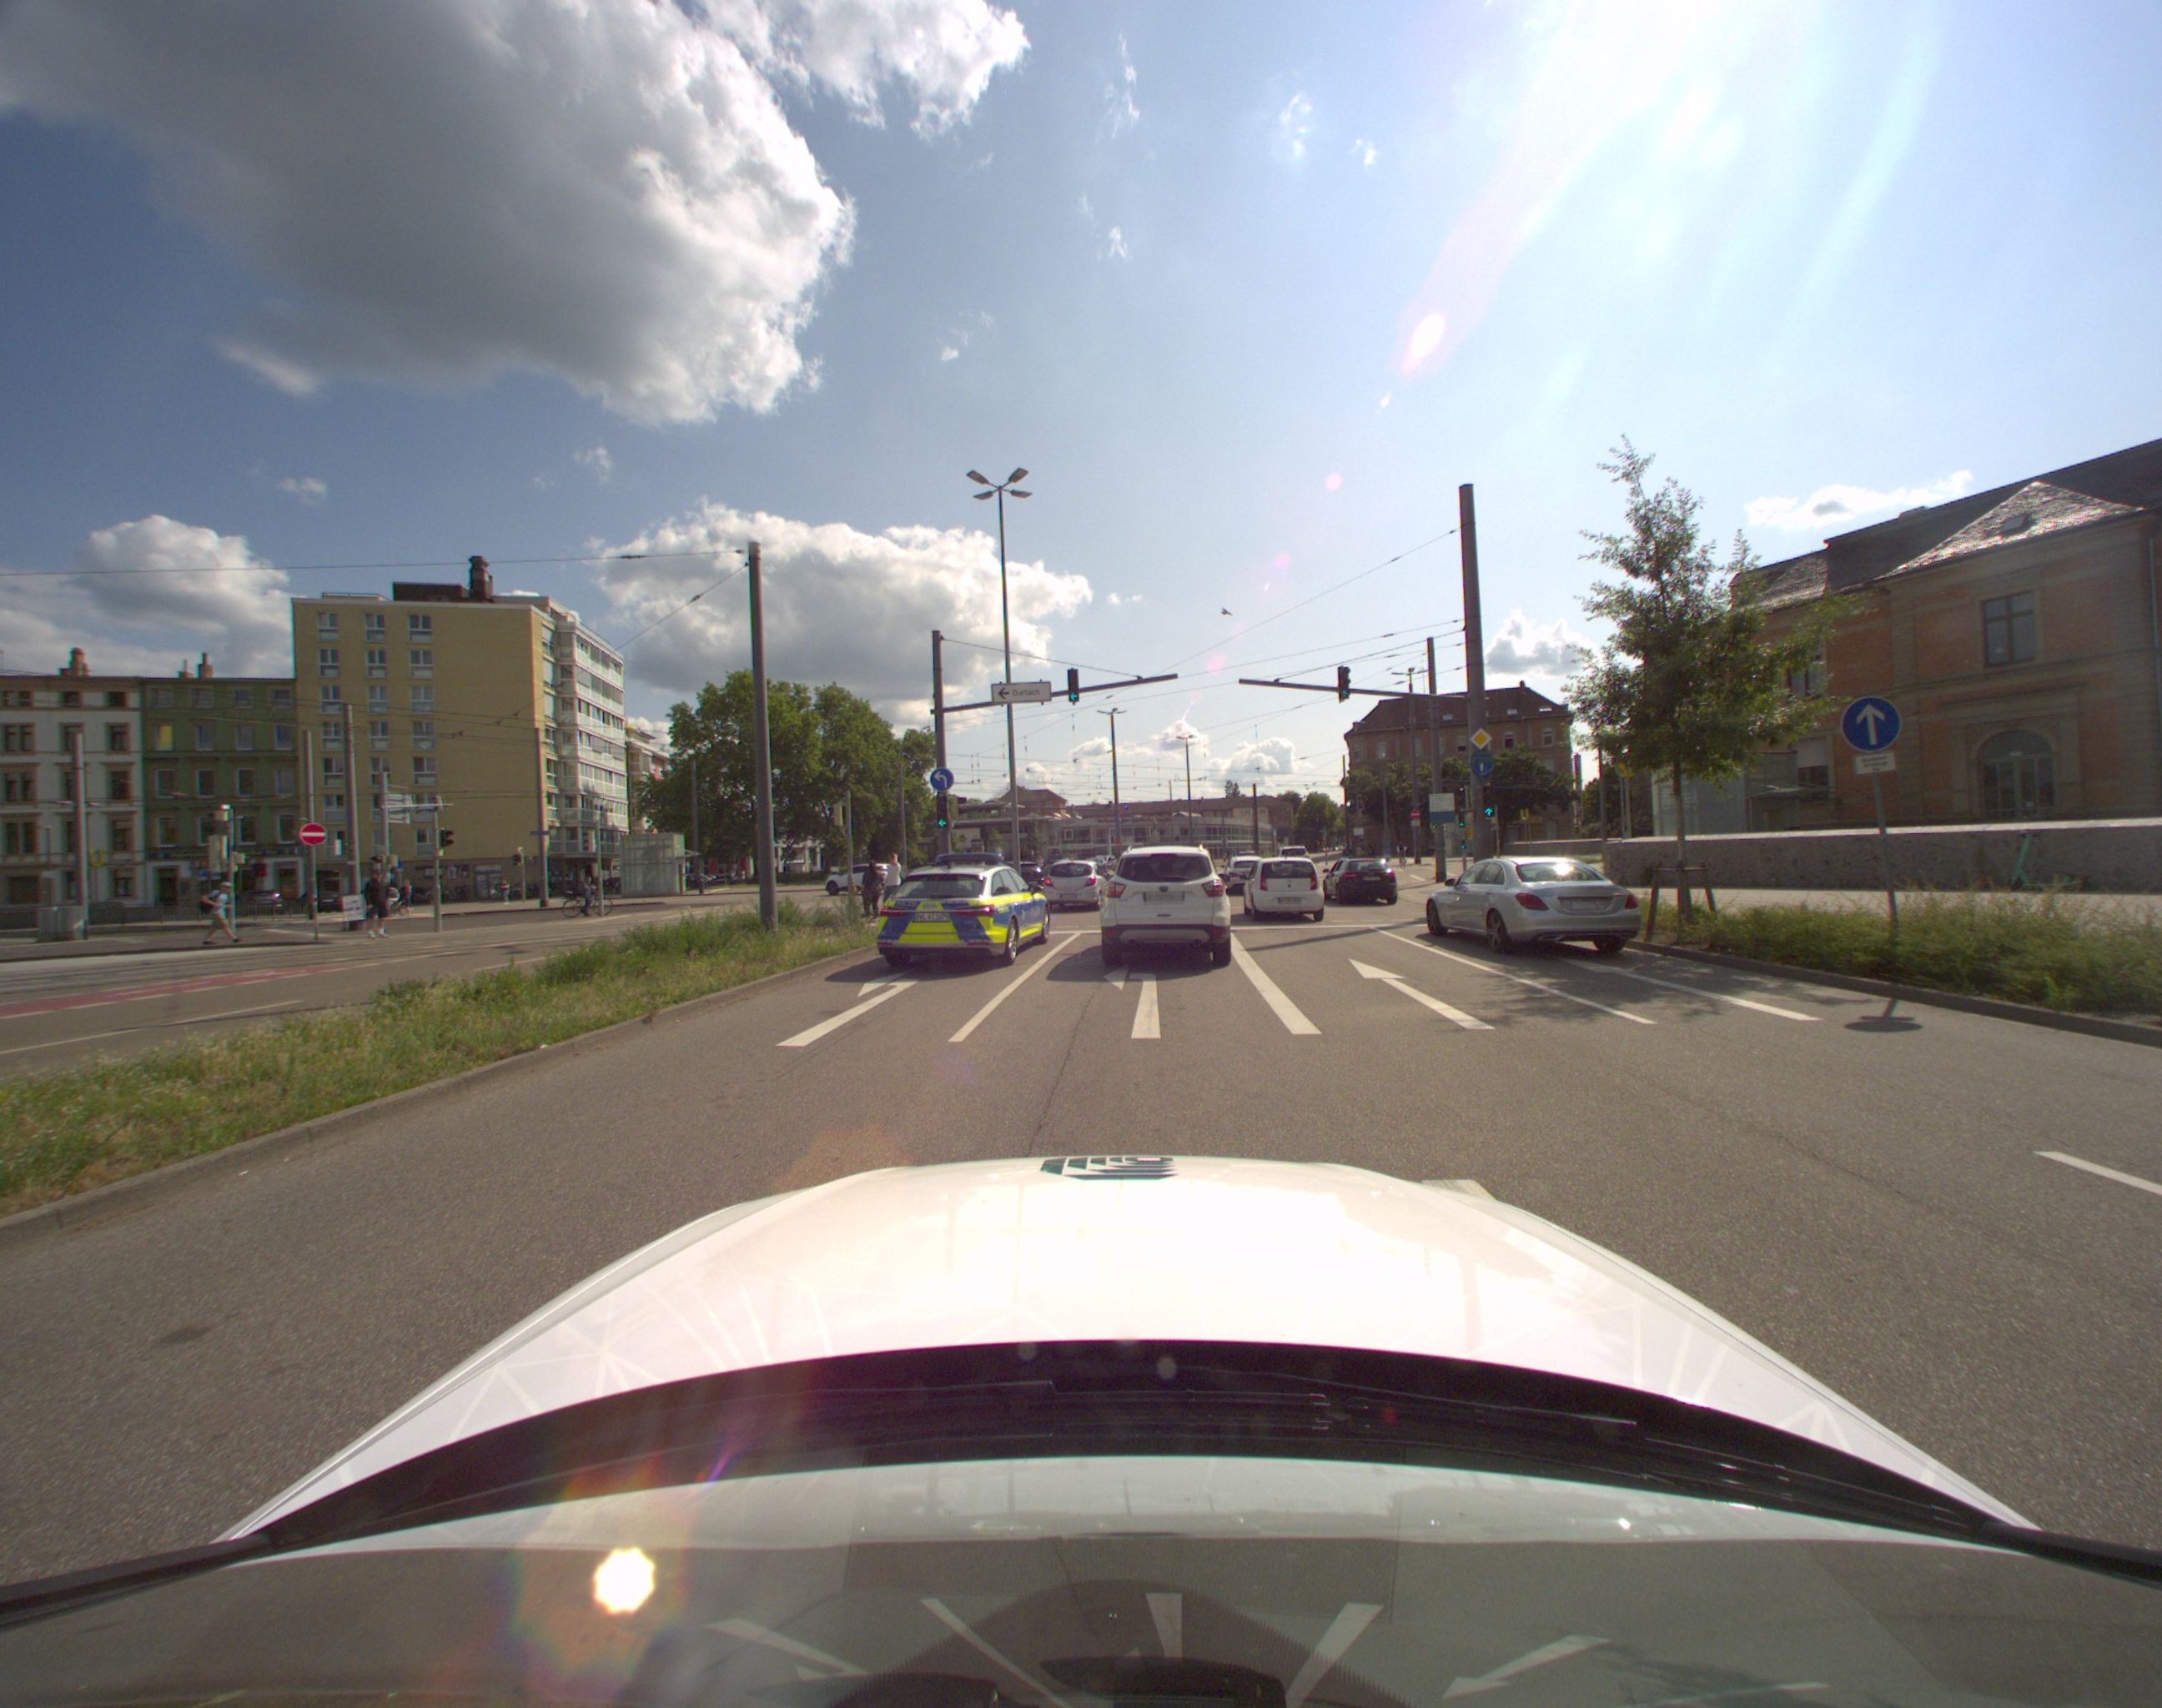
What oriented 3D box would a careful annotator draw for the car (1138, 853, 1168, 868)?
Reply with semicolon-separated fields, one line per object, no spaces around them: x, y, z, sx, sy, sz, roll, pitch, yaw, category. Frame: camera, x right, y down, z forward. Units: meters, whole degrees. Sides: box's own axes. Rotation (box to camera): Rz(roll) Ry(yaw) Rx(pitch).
7.679;0.691;86.097;1.882;1.461;3.991;-4;-1;24;car

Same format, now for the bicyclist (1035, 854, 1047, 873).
-3.610;0.866;73.149;0.753;1.683;0.764;-3;-1;16;bicyclist

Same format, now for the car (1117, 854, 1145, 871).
4.945;0.832;79.726;1.675;1.461;3.988;-4;0;19;car

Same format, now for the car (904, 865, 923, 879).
-23.984;2.605;116.844;1.963;1.937;4.226;-4;-1;-3;car

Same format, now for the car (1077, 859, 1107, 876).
0.966;1.167;72.365;1.724;1.373;3.656;-4;0;15;car

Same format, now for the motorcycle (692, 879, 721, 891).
-32.162;2.678;69.911;0.801;0.917;2.057;-2;1;38;motorcycle

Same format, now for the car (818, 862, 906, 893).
-12.151;1.315;45.137;4.481;1.578;2.059;-2;-1;30;car

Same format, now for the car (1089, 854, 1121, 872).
2.387;0.914;80.348;1.722;1.573;4.023;-4;-1;24;car

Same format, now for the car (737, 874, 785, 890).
-31.256;2.737;79.642;3.975;1.327;1.632;-3;-2;-1;car

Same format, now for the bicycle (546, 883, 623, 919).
-19.037;1.800;31.284;2.287;1.188;0.994;-3;-1;-2;bicycle

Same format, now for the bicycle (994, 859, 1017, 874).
-6.295;1.044;67.991;1.767;1.125;0.641;-2;0;10;bicycle

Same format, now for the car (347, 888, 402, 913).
-46.611;3.089;53.723;3.849;1.497;1.912;-4;-2;36;car

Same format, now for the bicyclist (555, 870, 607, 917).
-19.187;1.505;31.279;1.293;1.731;0.994;-3;-1;-1;bicyclist

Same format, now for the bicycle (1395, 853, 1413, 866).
20.874;0.353;52.625;0.582;0.775;1.622;-2;-1;3;bicycle

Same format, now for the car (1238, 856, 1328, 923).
4.927;0.809;20.332;1.641;1.422;4.007;-3;0;7;car

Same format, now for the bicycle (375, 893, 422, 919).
-32.963;2.512;39.372;0.889;1.138;2.343;0;-1;-17;bicycle

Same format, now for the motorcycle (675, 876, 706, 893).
-31.179;2.409;65.052;2.193;1.238;0.910;-3;0;19;motorcycle

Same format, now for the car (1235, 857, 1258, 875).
14.002;1.025;68.948;1.838;1.419;3.690;-2;-1;11;car

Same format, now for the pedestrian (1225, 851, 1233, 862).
24.168;0.431;133.050;0.866;1.737;0.882;-1;-1;37;pedestrian

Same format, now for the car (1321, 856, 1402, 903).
8.818;0.758;25.916;1.689;1.372;4.142;-1;0;8;car

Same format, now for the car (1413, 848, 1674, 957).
7.245;0.675;13.457;1.921;1.455;4.765;-1;0;5;car

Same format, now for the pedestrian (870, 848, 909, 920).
-5.295;0.829;22.543;0.844;1.917;0.692;-3;-1;1;pedestrian

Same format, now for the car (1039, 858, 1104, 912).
-0.243;0.903;25.399;1.841;1.474;4.000;-2;0;1;car

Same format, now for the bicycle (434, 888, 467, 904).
-47.502;3.176;61.360;1.809;1.104;0.792;-2;-1;-18;bicycle

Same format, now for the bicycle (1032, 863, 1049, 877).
-3.606;1.412;73.076;0.753;1.192;2.160;-3;0;16;bicycle

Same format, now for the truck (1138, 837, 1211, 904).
3.454;0.564;29.552;2.326;2.155;5.864;-1;0;8;truck

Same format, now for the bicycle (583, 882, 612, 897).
-39.081;2.882;65.808;1.808;1.147;0.792;-2;-1;-17;bicycle

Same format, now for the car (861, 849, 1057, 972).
-1.689;0.789;13.062;1.870;1.568;4.624;-2;-1;7;car

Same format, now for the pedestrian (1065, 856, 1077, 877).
-0.831;1.060;68.530;0.920;1.744;0.589;-1;-1;2;pedestrian

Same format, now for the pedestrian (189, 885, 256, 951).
-24.084;1.774;22.865;0.761;1.797;1.029;-1;-1;5;pedestrian

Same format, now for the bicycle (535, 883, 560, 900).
-42.031;2.970;64.169;0.792;1.258;1.808;-2;-1;-2;bicycle

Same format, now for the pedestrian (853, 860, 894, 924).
-5.548;1.002;21.794;0.844;1.648;0.692;-3;-1;1;pedestrian

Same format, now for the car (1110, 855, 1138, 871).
4.608;0.923;86.910;1.611;1.461;3.991;-4;0;24;car

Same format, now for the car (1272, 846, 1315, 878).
11.570;0.439;44.583;1.826;1.652;4.010;-2;-1;9;car

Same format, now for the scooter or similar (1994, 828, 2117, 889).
18.995;0.097;15.907;0.466;1.118;1.438;-3;0;-18;scooter or similar

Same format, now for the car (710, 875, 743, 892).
-33.278;2.756;76.534;1.906;1.413;3.985;-3;-2;-10;car

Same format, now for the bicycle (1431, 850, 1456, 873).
17.521;0.347;39.401;0.840;0.970;1.970;-5;-1;19;bicycle

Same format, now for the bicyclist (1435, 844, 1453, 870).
17.478;0.144;39.253;0.629;1.220;0.928;-4;0;19;bicyclist

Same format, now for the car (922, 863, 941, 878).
-21.348;2.403;116.546;1.989;2.014;4.226;-4;-1;-3;car

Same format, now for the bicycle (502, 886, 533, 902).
-43.097;3.051;62.294;1.809;1.104;0.792;-2;-1;-18;bicycle

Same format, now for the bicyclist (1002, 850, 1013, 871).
-6.144;0.547;67.960;0.656;1.738;0.641;-2;0;10;bicyclist

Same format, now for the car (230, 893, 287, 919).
-52.105;3.284;51.566;3.849;1.497;1.912;-4;-2;35;car

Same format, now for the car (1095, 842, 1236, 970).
1.294;0.714;12.780;1.818;1.664;3.961;-1;-1;5;car

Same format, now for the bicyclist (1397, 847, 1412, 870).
20.877;0.277;52.578;0.605;1.451;0.775;-2;-1;3;bicyclist

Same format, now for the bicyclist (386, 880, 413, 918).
-32.975;2.181;39.424;0.779;1.797;0.706;0;-1;-18;bicyclist

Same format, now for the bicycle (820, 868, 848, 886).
-20.534;1.925;67.803;2.171;1.414;0.808;-1;0;-14;bicycle

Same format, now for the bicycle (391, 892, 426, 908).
-50.071;3.409;60.664;1.809;1.104;0.792;-2;-1;-18;bicycle

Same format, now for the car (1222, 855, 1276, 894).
6.587;0.791;32.257;1.839;1.419;3.687;-2;-1;8;car

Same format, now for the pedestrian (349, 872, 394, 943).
-19.488;1.448;22.393;0.770;1.903;0.819;0;-1;-30;pedestrian

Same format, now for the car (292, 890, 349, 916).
-48.689;3.139;52.145;3.849;1.497;1.912;-4;-2;35;car
